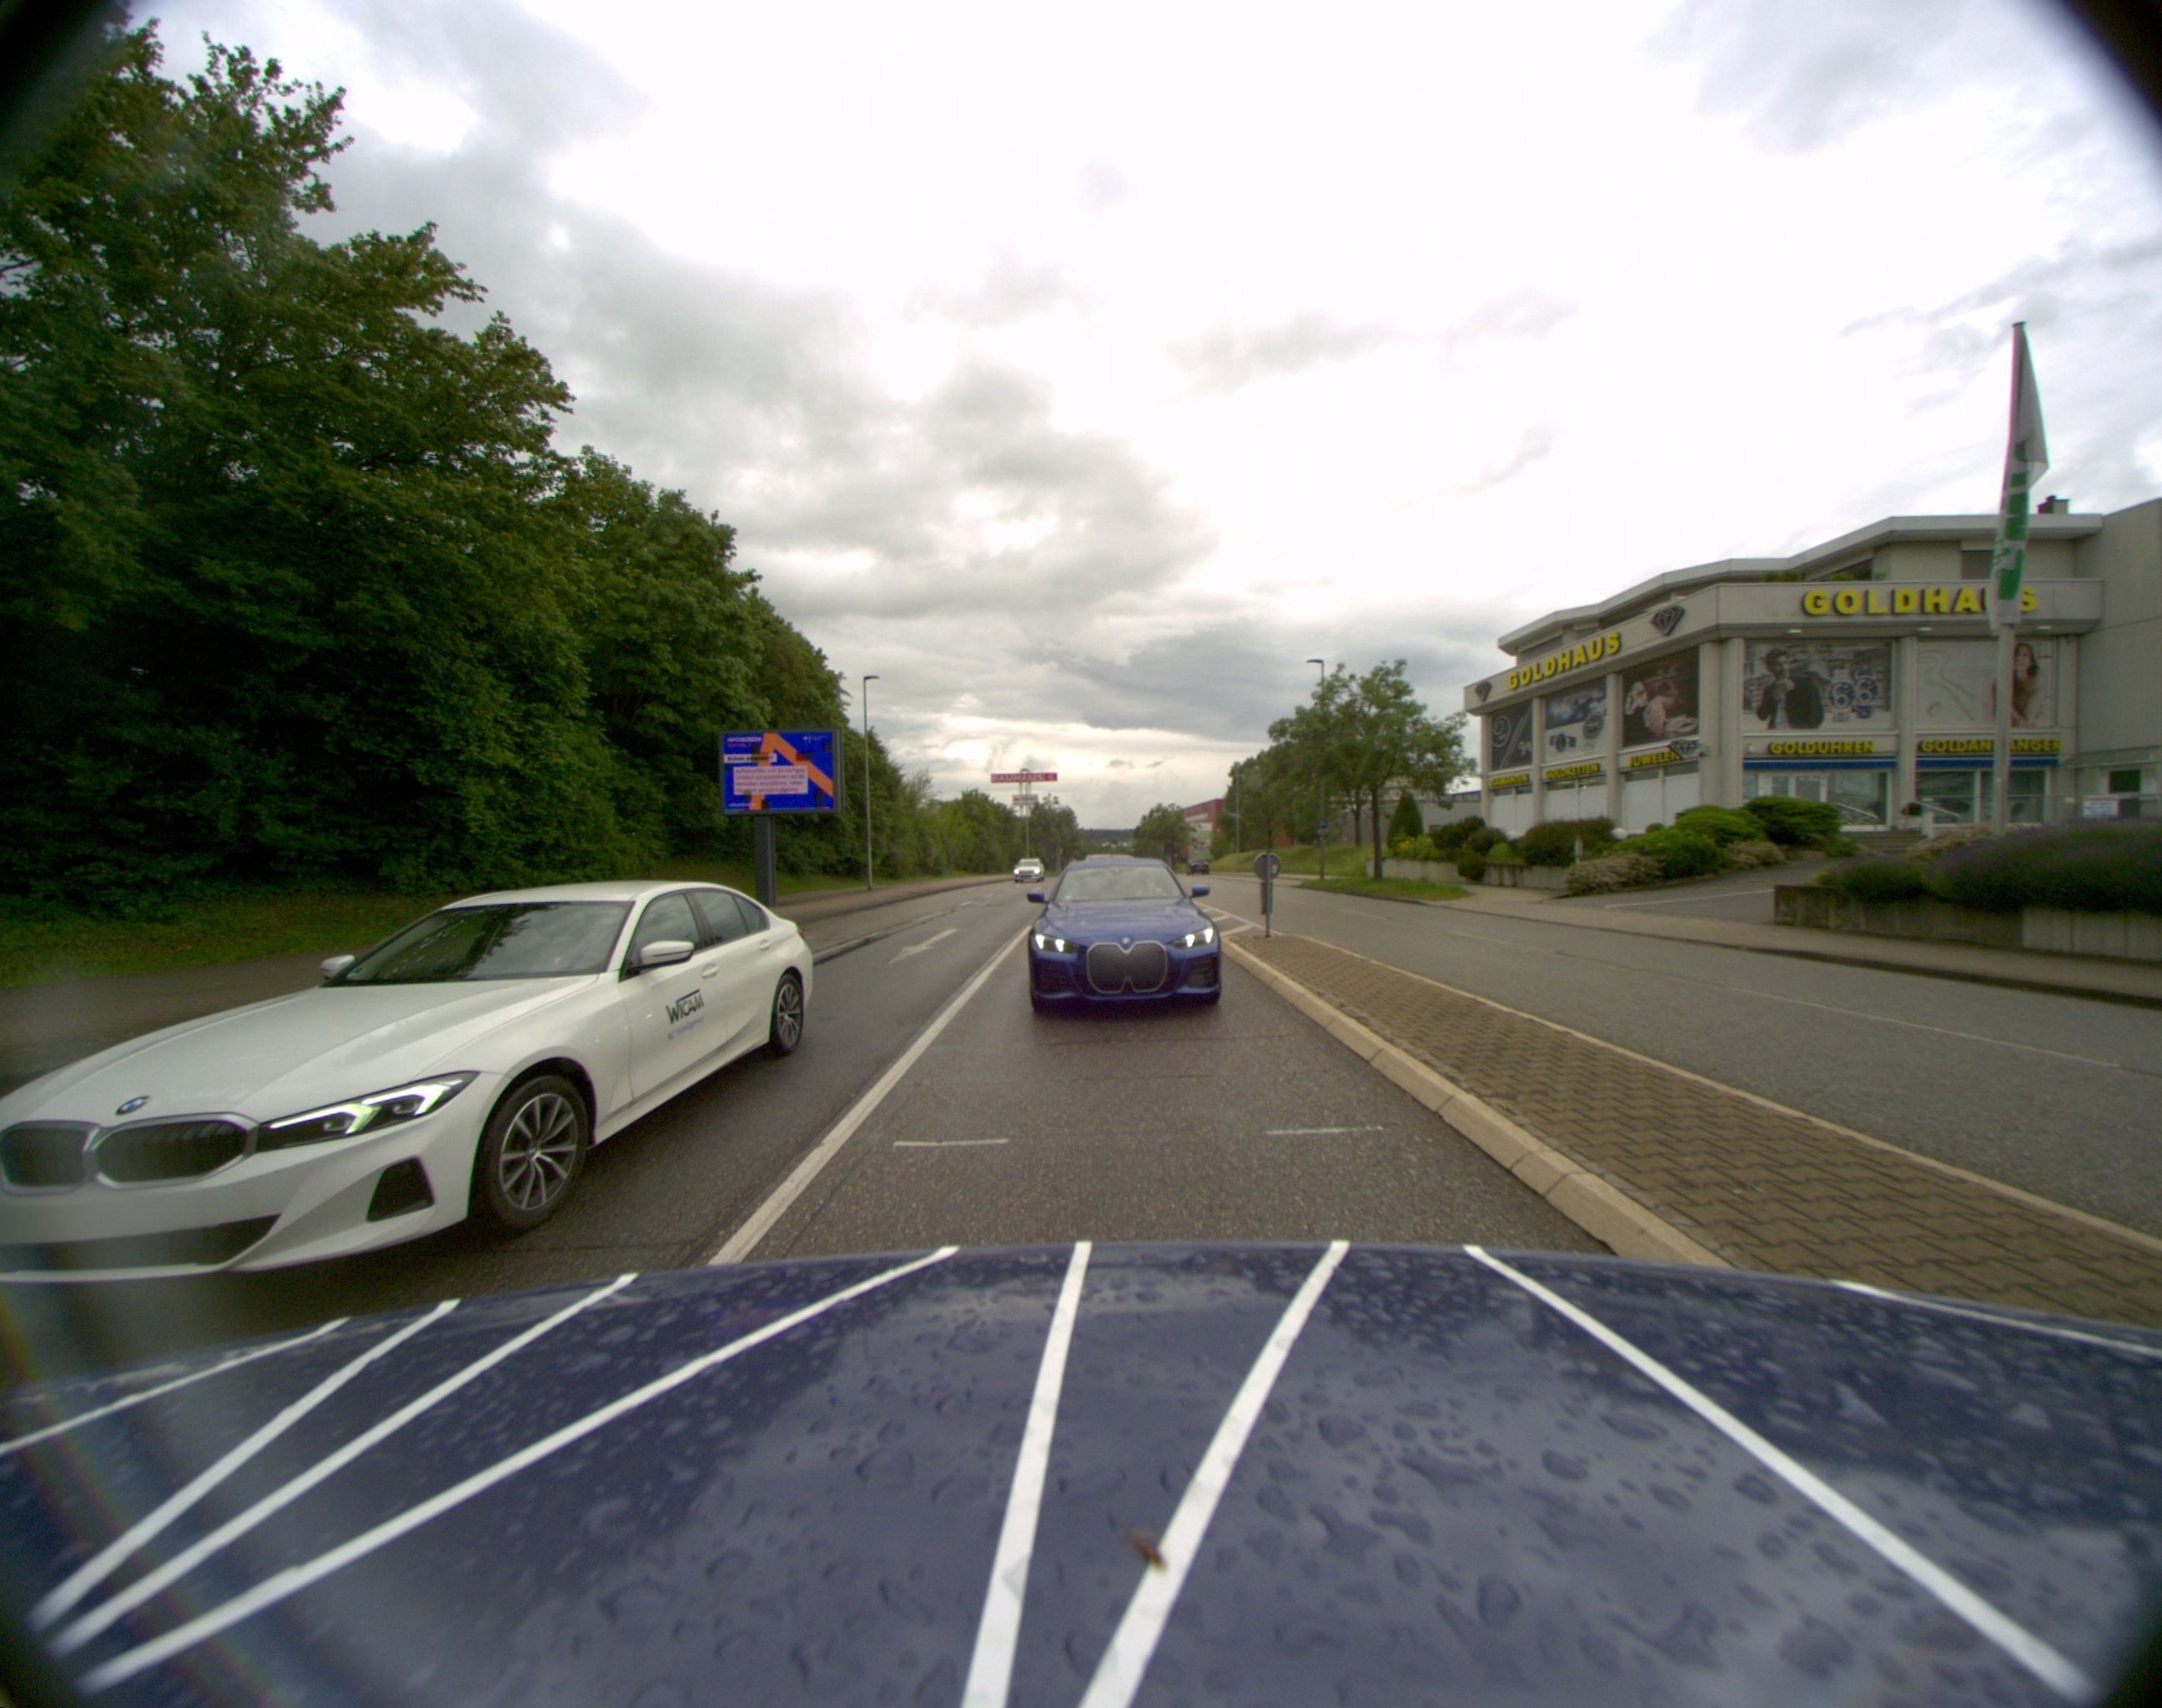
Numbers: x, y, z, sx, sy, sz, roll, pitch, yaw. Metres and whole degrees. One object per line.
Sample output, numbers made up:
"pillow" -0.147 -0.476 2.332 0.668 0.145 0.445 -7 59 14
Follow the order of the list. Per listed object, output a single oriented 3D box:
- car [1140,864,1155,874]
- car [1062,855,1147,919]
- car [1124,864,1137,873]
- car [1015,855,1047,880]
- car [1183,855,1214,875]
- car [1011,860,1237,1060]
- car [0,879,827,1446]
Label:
"car" 10.141 2.281 116.047 1.998 1.586 4.001 -1 -1 1
"car" 0.659 0.812 20.785 1.998 1.455 4.368 -3 0 2
"car" 8.486 2.526 131.334 1.998 1.586 4.001 -1 -1 1
"car" -3.567 0.945 55.046 1.998 1.717 4.316 -1 0 1
"car" 11.551 1.112 74.905 2.350 1.879 4.545 -1 -1 1
"car" 0.328 0.880 8.446 1.784 1.448 4.596 -2 1 -1
"car" -3.225 1.016 4.602 1.784 1.448 4.678 -2 1 -1
